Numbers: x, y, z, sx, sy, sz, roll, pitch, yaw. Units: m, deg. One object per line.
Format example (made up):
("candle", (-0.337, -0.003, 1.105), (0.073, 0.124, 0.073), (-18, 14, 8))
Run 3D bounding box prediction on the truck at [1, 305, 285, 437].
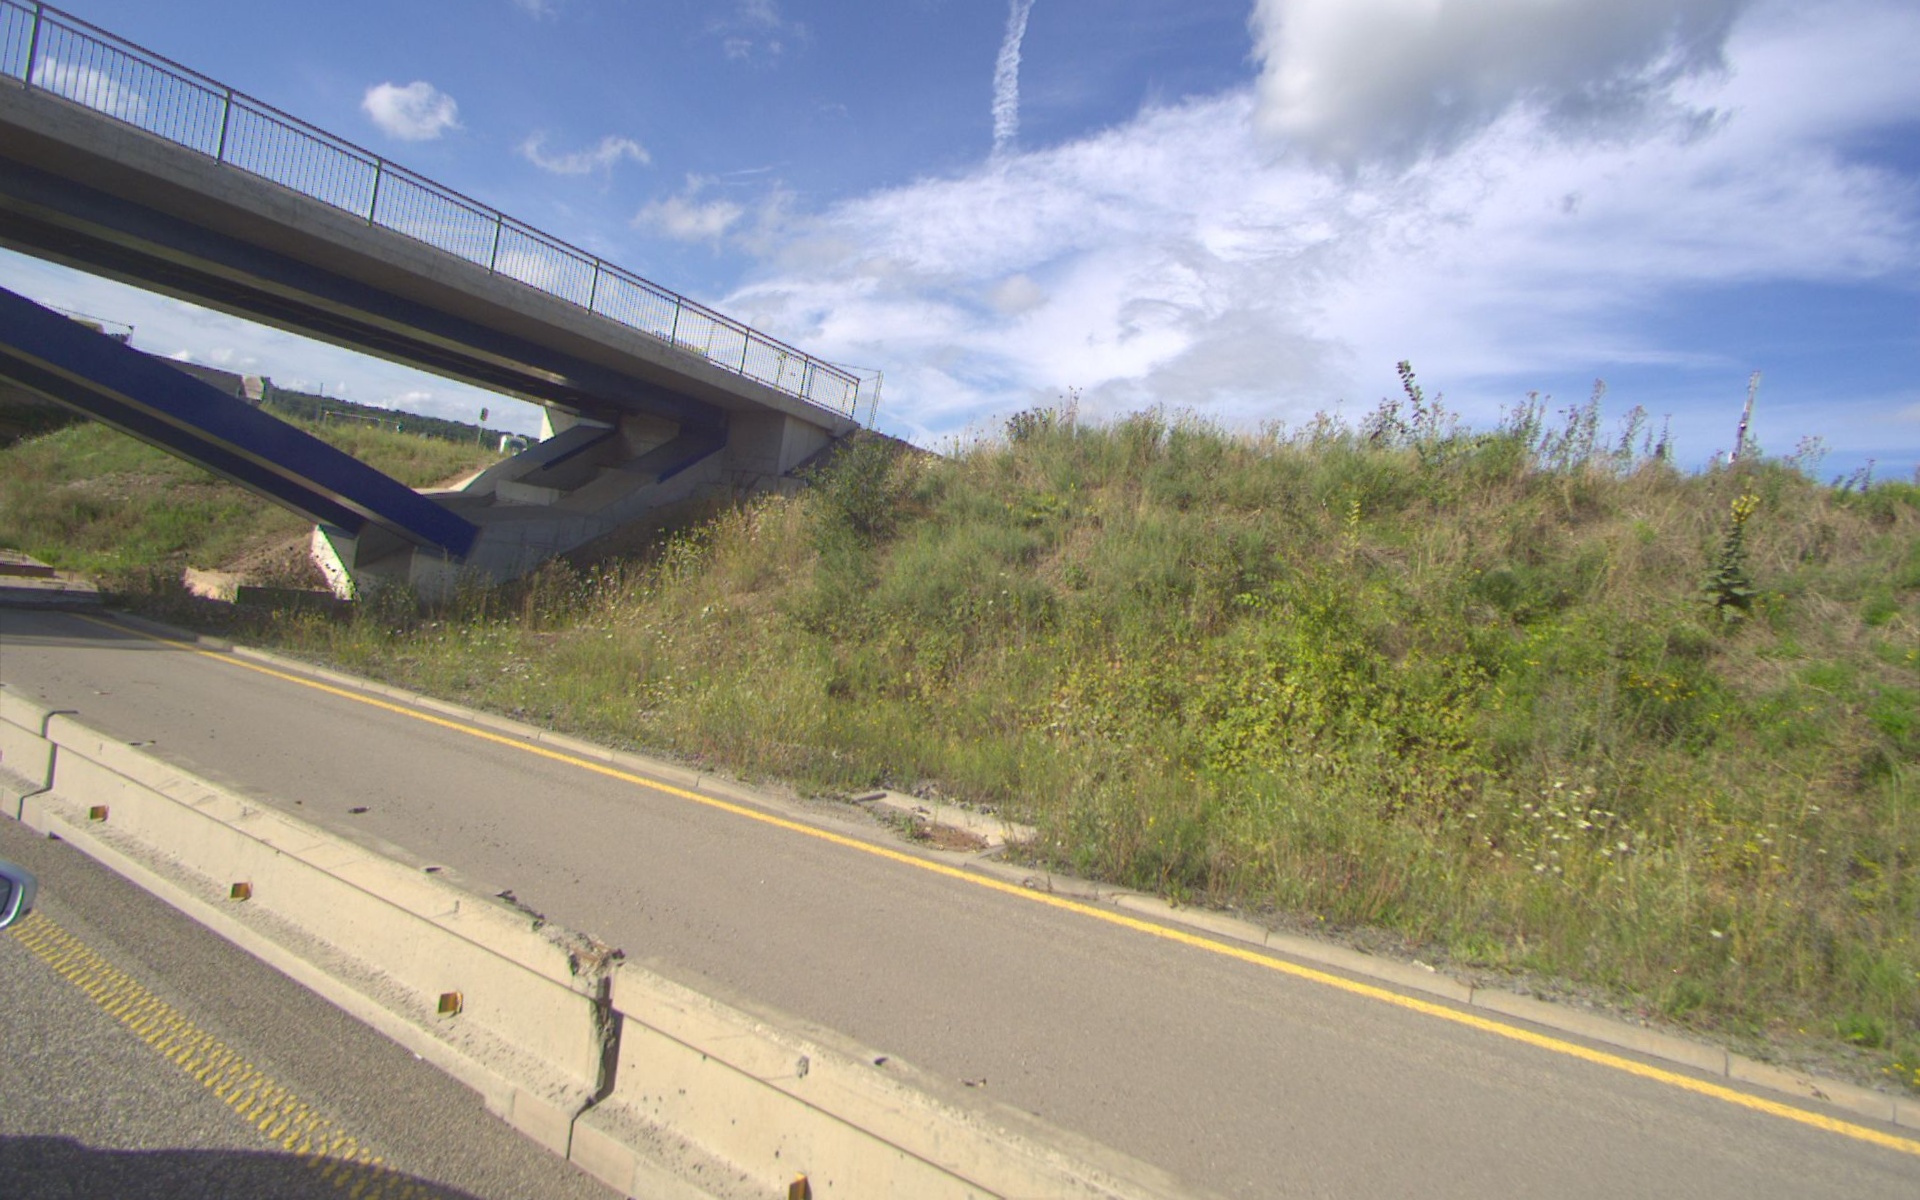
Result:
("truck", (-36.383, -10.015, 45.334), (2.911, 3.266, 9.278), (7, -1, 32))
